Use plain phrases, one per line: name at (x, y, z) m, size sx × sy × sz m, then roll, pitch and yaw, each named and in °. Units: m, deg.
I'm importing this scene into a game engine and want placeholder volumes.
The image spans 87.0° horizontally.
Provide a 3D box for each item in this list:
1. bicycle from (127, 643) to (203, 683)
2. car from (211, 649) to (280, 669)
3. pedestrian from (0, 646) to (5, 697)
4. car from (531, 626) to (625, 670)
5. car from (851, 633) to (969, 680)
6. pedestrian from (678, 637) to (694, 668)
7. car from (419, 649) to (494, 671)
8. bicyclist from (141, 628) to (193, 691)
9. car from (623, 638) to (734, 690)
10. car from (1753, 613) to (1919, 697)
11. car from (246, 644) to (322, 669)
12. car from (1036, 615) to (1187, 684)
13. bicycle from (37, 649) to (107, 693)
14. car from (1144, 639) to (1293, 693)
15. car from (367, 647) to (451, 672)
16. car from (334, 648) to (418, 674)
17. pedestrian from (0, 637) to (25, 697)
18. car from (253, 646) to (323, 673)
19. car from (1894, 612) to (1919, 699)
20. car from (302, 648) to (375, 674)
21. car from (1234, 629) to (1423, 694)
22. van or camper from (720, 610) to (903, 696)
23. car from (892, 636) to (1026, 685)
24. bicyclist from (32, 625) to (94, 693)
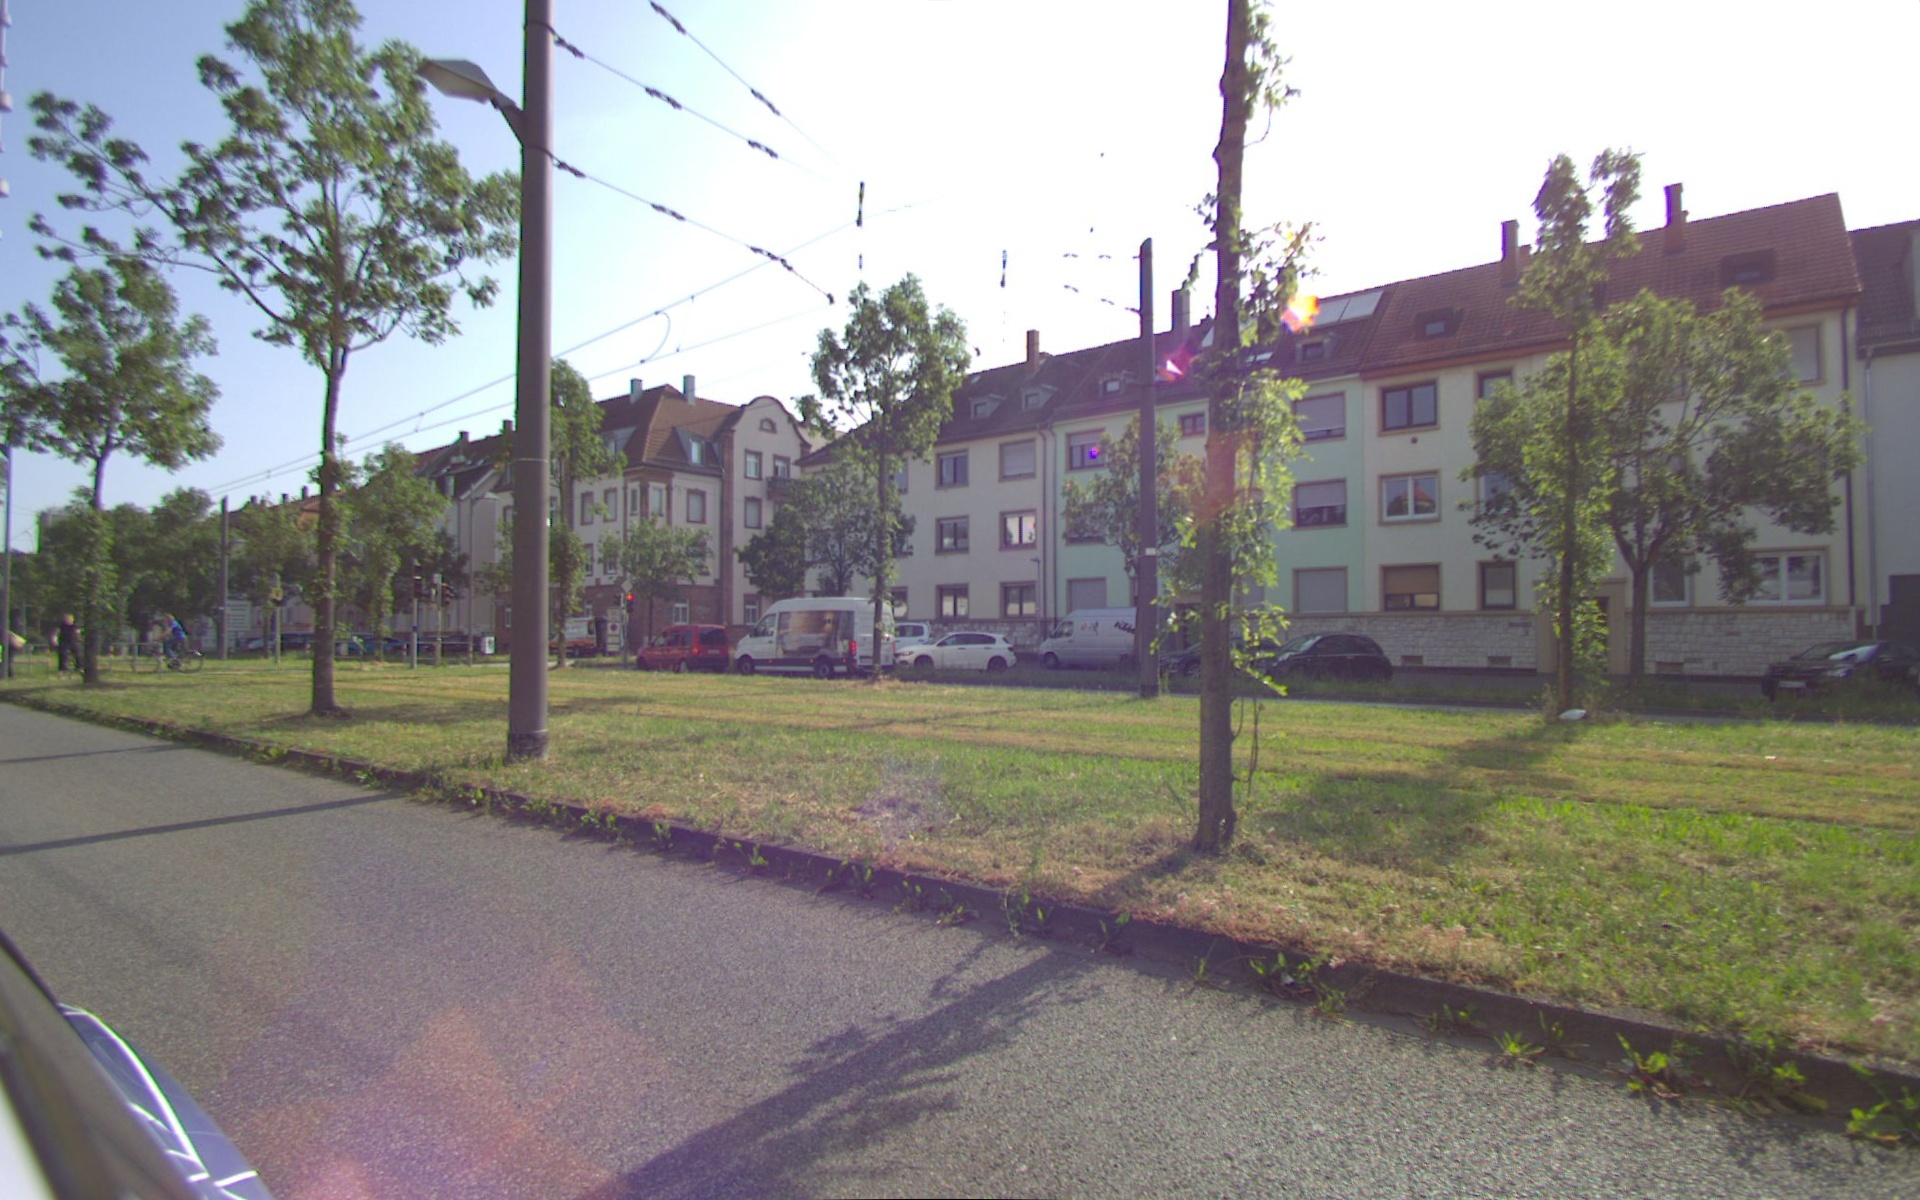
bicycle at (-24.311, 1.914, 30.983) m, size 1.763 × 1.154 × 0.578 m, roll -1°, pitch -1°, yaw -34°
car at (-60.583, 4.972, 85.860) m, size 4.423 × 1.502 × 2.006 m, roll -1°, pitch -1°, yaw -23°
pedestrian at (-25.711, 1.895, 26.792) m, size 0.449 × 1.368 × 0.550 m, roll 1°, pitch -3°, yaw -25°
car at (-23.834, 2.948, 63.012) m, size 6.496 × 2.583 × 2.327 m, roll -2°, pitch -1°, yaw 37°
car at (-1.856, 2.026, 37.111) m, size 4.030 × 1.541 × 1.818 m, roll -1°, pitch -1°, yaw -14°
pedestrian at (-16.204, 3.094, 59.793) m, size 0.632 × 1.761 × 0.661 m, roll -2°, pitch -1°, yaw 39°
car at (-29.637, 3.515, 59.656) m, size 3.784 × 1.136 × 1.774 m, roll -1°, pitch -1°, yaw -20°
bicyclist at (-24.299, 1.798, 31.039) m, size 1.168 × 1.864 × 0.913 m, roll -1°, pitch -1°, yaw -34°
car at (-10.170, 2.284, 36.433) m, size 4.157 × 1.751 × 1.797 m, roll -2°, pitch -4°, yaw 40°
car at (19.065, 1.094, 21.042) m, size 4.084 × 1.520 × 1.874 m, roll -1°, pitch 1°, yaw -13°
car at (-50.521, 4.221, 75.734) m, size 4.423 × 1.617 × 2.006 m, roll -1°, pitch -1°, yaw -23°
car at (5.818, 1.877, 39.407) m, size 5.573 × 2.482 × 1.973 m, roll -2°, pitch -1°, yaw 40°
bicycle at (-24.617, 1.957, 28.086) m, size 0.567 × 1.155 × 1.756 m, roll 0°, pitch -3°, yaw -9°
car at (7.361, 1.860, 28.949) m, size 3.714 × 1.353 × 1.778 m, roll -1°, pitch -1°, yaw -14°
car at (-34.072, 3.676, 62.689) m, size 4.269 × 1.336 × 2.006 m, roll -1°, pitch -1°, yaw -20°
car at (-37.783, 3.946, 65.634) m, size 4.437 × 1.451 × 2.006 m, roll -1°, pitch -1°, yaw -20°
pedestrian at (-25.921, 1.811, 27.434) m, size 0.601 × 1.616 × 0.737 m, roll 1°, pitch -3°, yaw -26°
car at (-48.219, 4.268, 72.695) m, size 3.930 × 1.719 × 1.881 m, roll -1°, pitch -1°, yaw -23°
car at (20.253, 1.044, 19.092) m, size 4.084 × 1.628 × 1.874 m, roll -1°, pitch 1°, yaw -13°
car at (-42.714, 4.172, 69.621) m, size 3.994 × 1.566 × 1.922 m, roll -1°, pitch -1°, yaw -21°
car at (9.816, 1.602, 27.097) m, size 4.278 × 1.541 × 2.005 m, roll -1°, pitch -1°, yaw -12°
van or camper at (-4.784, 1.659, 31.948) m, size 6.051 × 2.493 × 2.121 m, roll -2°, pitch -4°, yaw 38°
car at (-0.075, 2.073, 35.136) m, size 4.293 × 1.486 × 1.862 m, roll -1°, pitch -1°, yaw -14°
bicyclist at (-24.723, 1.621, 27.905) m, size 0.894 × 1.836 × 0.872 m, roll 0°, pitch -3°, yaw -8°
